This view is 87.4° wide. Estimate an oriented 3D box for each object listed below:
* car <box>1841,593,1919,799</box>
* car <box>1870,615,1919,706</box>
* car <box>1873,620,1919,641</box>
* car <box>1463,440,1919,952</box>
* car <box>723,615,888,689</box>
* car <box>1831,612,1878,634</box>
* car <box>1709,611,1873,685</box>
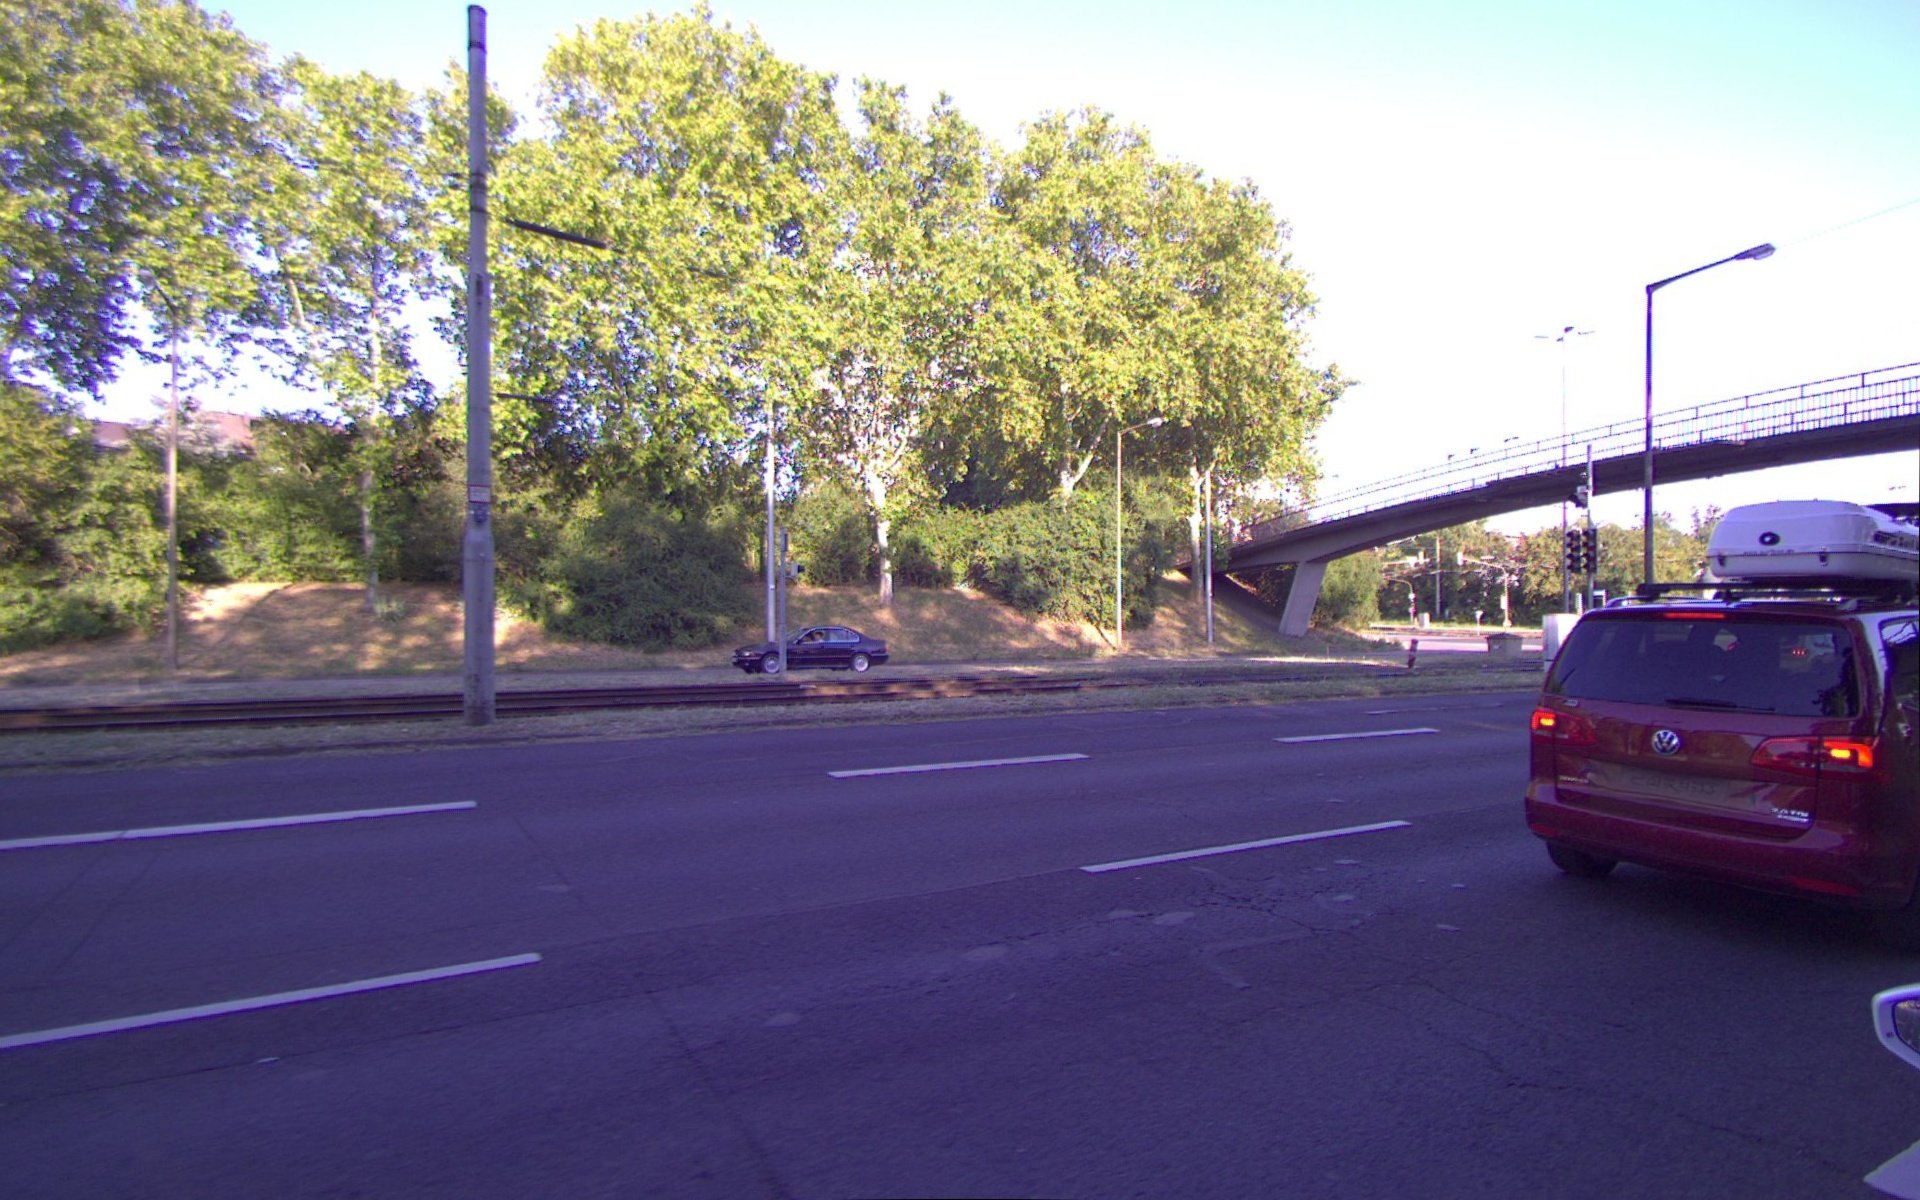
[{"bbox_3d":[10.256,0.829,9.390,4.191,1.773,1.784,1,-2,-31],"label":"car"},{"bbox_3d":[18.445,1.054,18.246,4.141,1.586,1.655,1,-2,-31],"label":"car"},{"bbox_3d":[73.838,2.399,79.138,3.633,1.596,1.868,0,1,-32],"label":"car"},{"bbox_3d":[5.042,0.445,5.984,3.954,2.133,1.784,1,-2,-31],"label":"car"},{"bbox_3d":[-4.555,1.510,29.842,4.465,2.040,1.908,1,-2,-34],"label":"car"},{"bbox_3d":[75.604,1.931,84.893,3.955,1.795,1.868,0,1,-32],"label":"car"},{"bbox_3d":[19.245,1.070,23.242,3.953,1.586,1.655,1,-2,-31],"label":"car"}]
